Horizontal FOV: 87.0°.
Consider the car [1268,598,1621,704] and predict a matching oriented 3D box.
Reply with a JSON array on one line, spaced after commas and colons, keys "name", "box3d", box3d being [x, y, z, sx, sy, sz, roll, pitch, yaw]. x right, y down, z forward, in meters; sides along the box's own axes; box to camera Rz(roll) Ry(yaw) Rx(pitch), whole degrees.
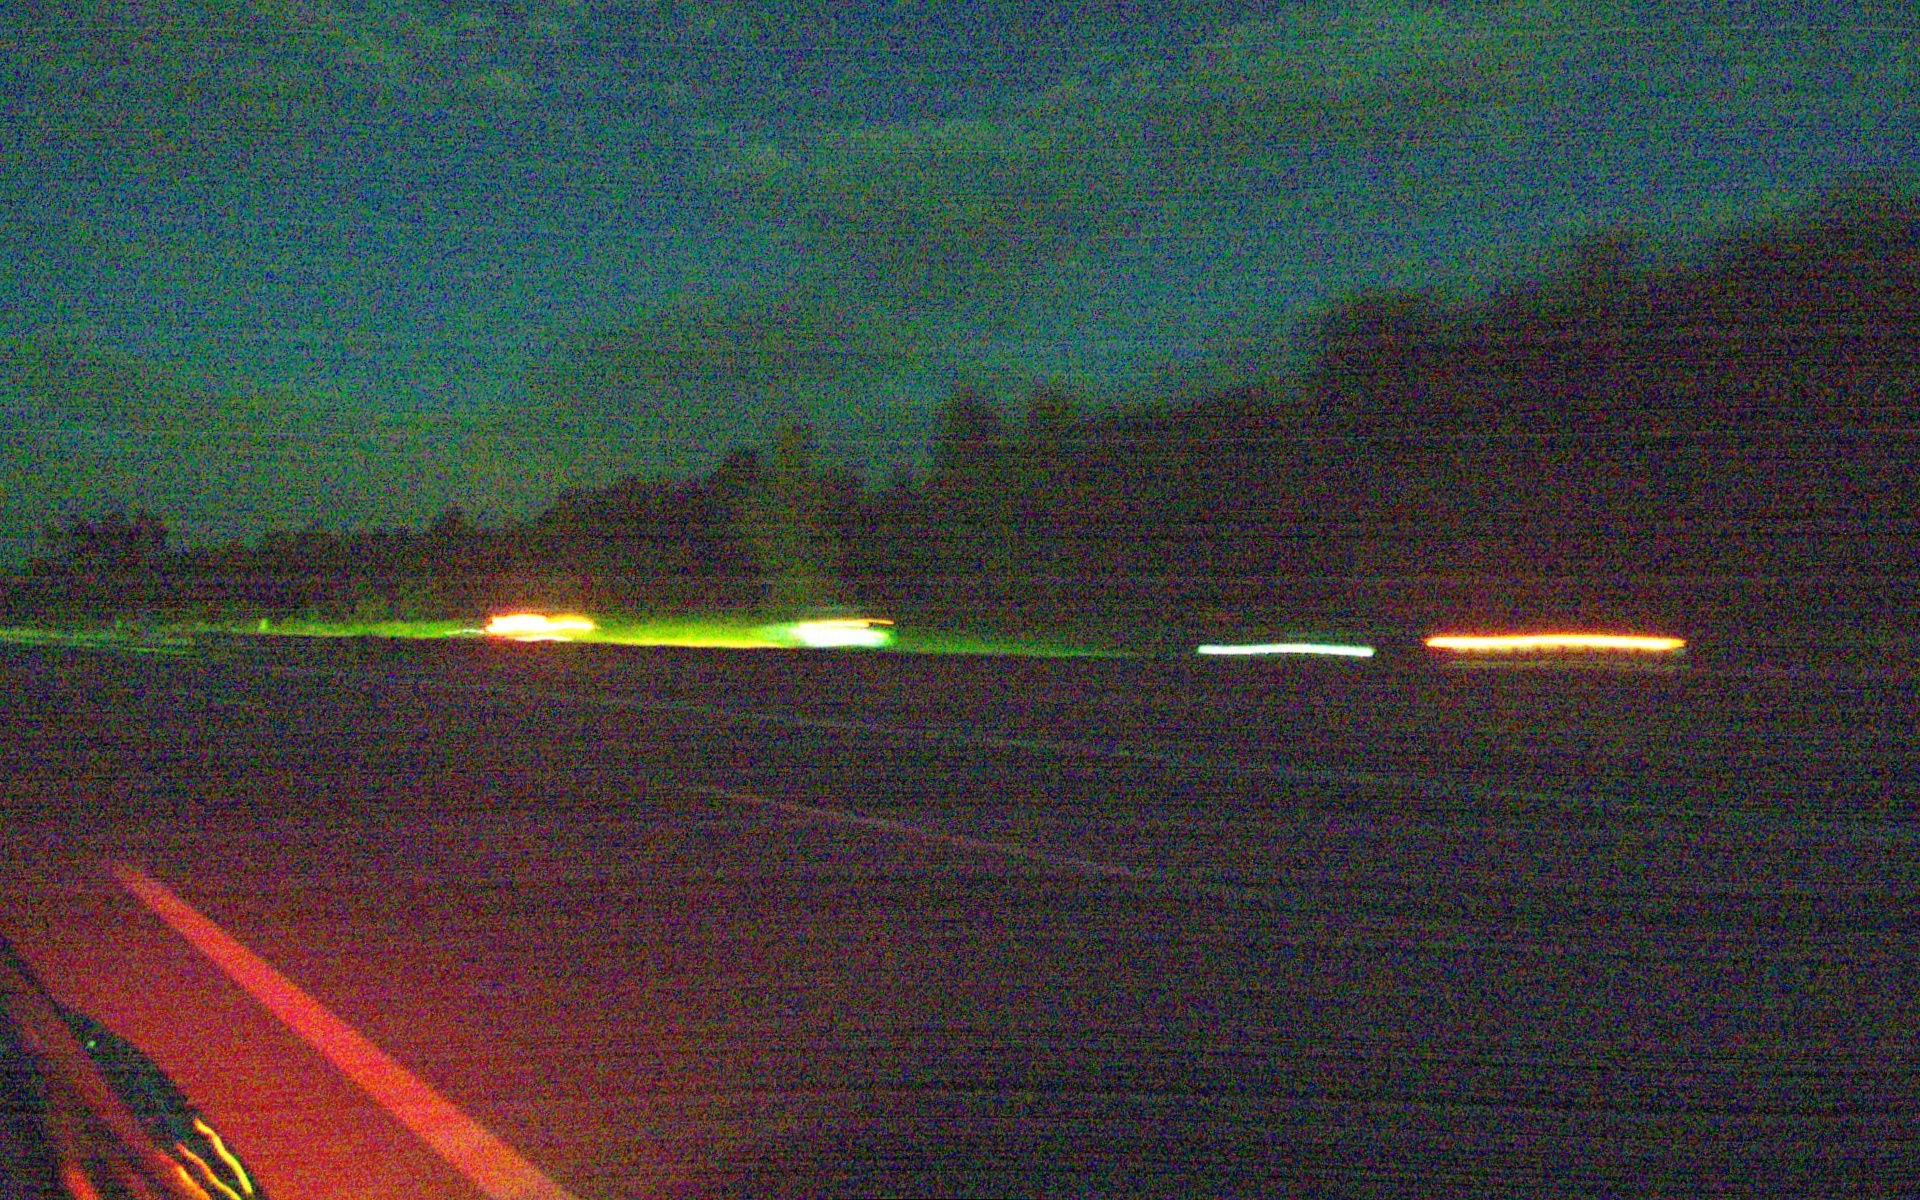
[{"name": "car", "box3d": [7.844, 0.742, 16.688, 4.926, 1.491, 1.973, -1, 0, 40]}]

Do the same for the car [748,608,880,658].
[{"name": "car", "box3d": [-4.881, 1.054, 33.464, 4.400, 1.519, 1.972, -1, 0, 42]}]

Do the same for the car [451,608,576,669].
[{"name": "car", "box3d": [-14.414, 1.187, 32.551, 4.679, 1.804, 1.972, -1, 0, 43]}]
